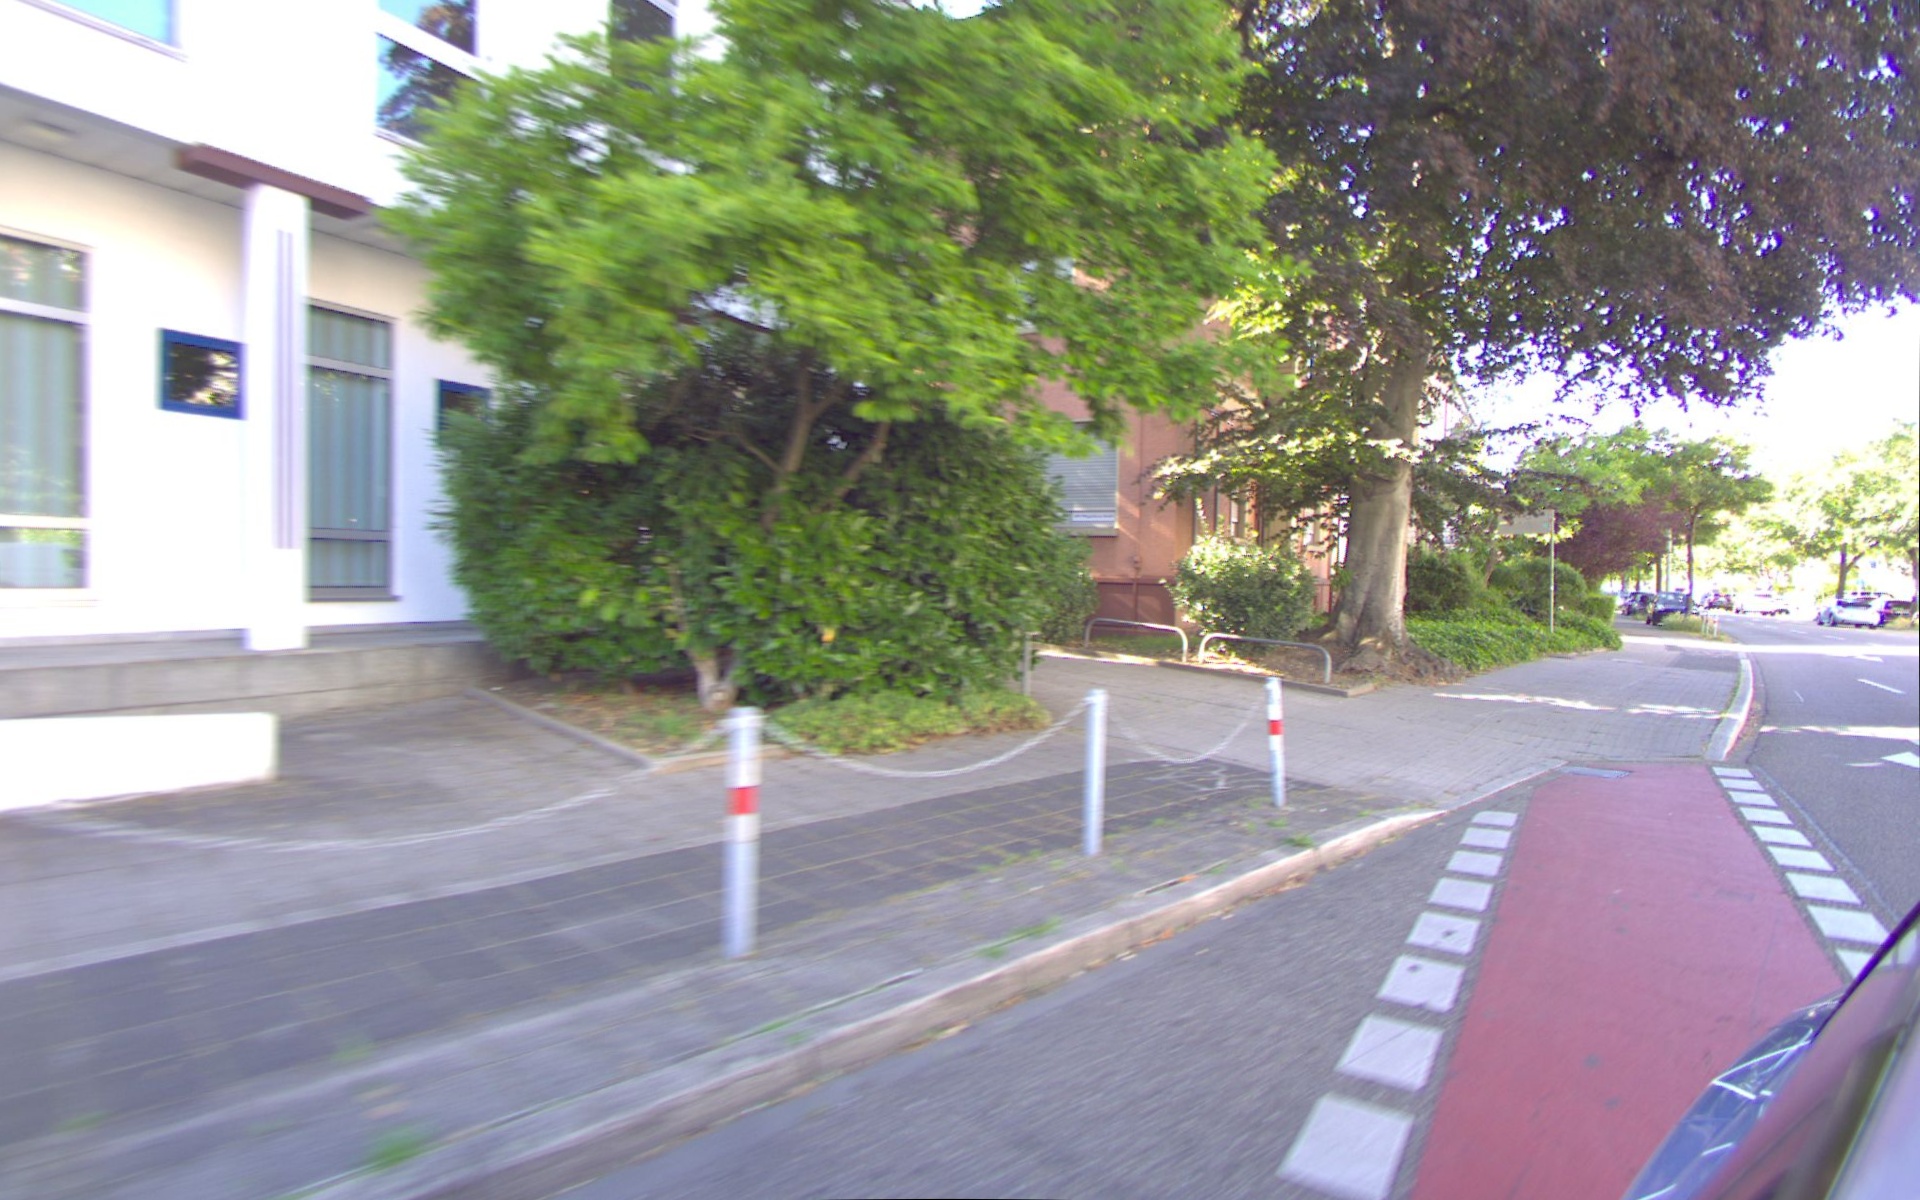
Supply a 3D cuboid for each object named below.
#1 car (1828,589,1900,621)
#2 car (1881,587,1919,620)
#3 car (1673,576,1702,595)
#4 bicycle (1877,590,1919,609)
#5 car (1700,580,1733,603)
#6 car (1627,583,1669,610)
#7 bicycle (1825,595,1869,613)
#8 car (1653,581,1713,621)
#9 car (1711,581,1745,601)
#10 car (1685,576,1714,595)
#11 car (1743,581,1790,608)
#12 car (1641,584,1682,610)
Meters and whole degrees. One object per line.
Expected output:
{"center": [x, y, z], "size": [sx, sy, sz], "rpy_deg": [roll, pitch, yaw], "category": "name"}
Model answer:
{"center": [43.848, 0.222, 49.159], "size": [1.729, 1.398, 3.895], "rpy_deg": [4, 2, 30], "category": "car"}
{"center": [48.062, 0.146, 50.839], "size": [1.713, 1.555, 4.630], "rpy_deg": [1, 1, 30], "category": "car"}
{"center": [82.765, -1.661, 115.152], "size": [2.006, 1.975, 5.124], "rpy_deg": [4, 3, 29], "category": "car"}
{"center": [67.914, -0.064, 72.733], "size": [3.113, 1.277, 0.953], "rpy_deg": [0, 3, -3], "category": "bicycle"}
{"center": [71.346, -0.823, 95.518], "size": [1.795, 1.934, 4.661], "rpy_deg": [5, 3, 30], "category": "car"}
{"center": [42.101, -0.233, 62.028], "size": [1.705, 1.507, 4.191], "rpy_deg": [3, 2, 29], "category": "car"}
{"center": [55.546, 0.240, 63.413], "size": [0.453, 1.105, 2.029], "rpy_deg": [0, 1, -36], "category": "bicycle"}
{"center": [31.105, 0.016, 43.615], "size": [1.551, 1.533, 3.618], "rpy_deg": [4, 3, 29], "category": "car"}
{"center": [66.867, -0.808, 88.189], "size": [1.711, 1.584, 4.297], "rpy_deg": [5, 3, 30], "category": "car"}
{"center": [75.667, -1.508, 103.622], "size": [1.807, 1.764, 4.446], "rpy_deg": [5, 3, 30], "category": "car"}
{"center": [56.462, -0.415, 70.921], "size": [1.798, 1.668, 4.624], "rpy_deg": [5, 3, 30], "category": "car"}
{"center": [39.566, -0.195, 57.134], "size": [1.605, 1.400, 3.932], "rpy_deg": [3, 2, 31], "category": "car"}
